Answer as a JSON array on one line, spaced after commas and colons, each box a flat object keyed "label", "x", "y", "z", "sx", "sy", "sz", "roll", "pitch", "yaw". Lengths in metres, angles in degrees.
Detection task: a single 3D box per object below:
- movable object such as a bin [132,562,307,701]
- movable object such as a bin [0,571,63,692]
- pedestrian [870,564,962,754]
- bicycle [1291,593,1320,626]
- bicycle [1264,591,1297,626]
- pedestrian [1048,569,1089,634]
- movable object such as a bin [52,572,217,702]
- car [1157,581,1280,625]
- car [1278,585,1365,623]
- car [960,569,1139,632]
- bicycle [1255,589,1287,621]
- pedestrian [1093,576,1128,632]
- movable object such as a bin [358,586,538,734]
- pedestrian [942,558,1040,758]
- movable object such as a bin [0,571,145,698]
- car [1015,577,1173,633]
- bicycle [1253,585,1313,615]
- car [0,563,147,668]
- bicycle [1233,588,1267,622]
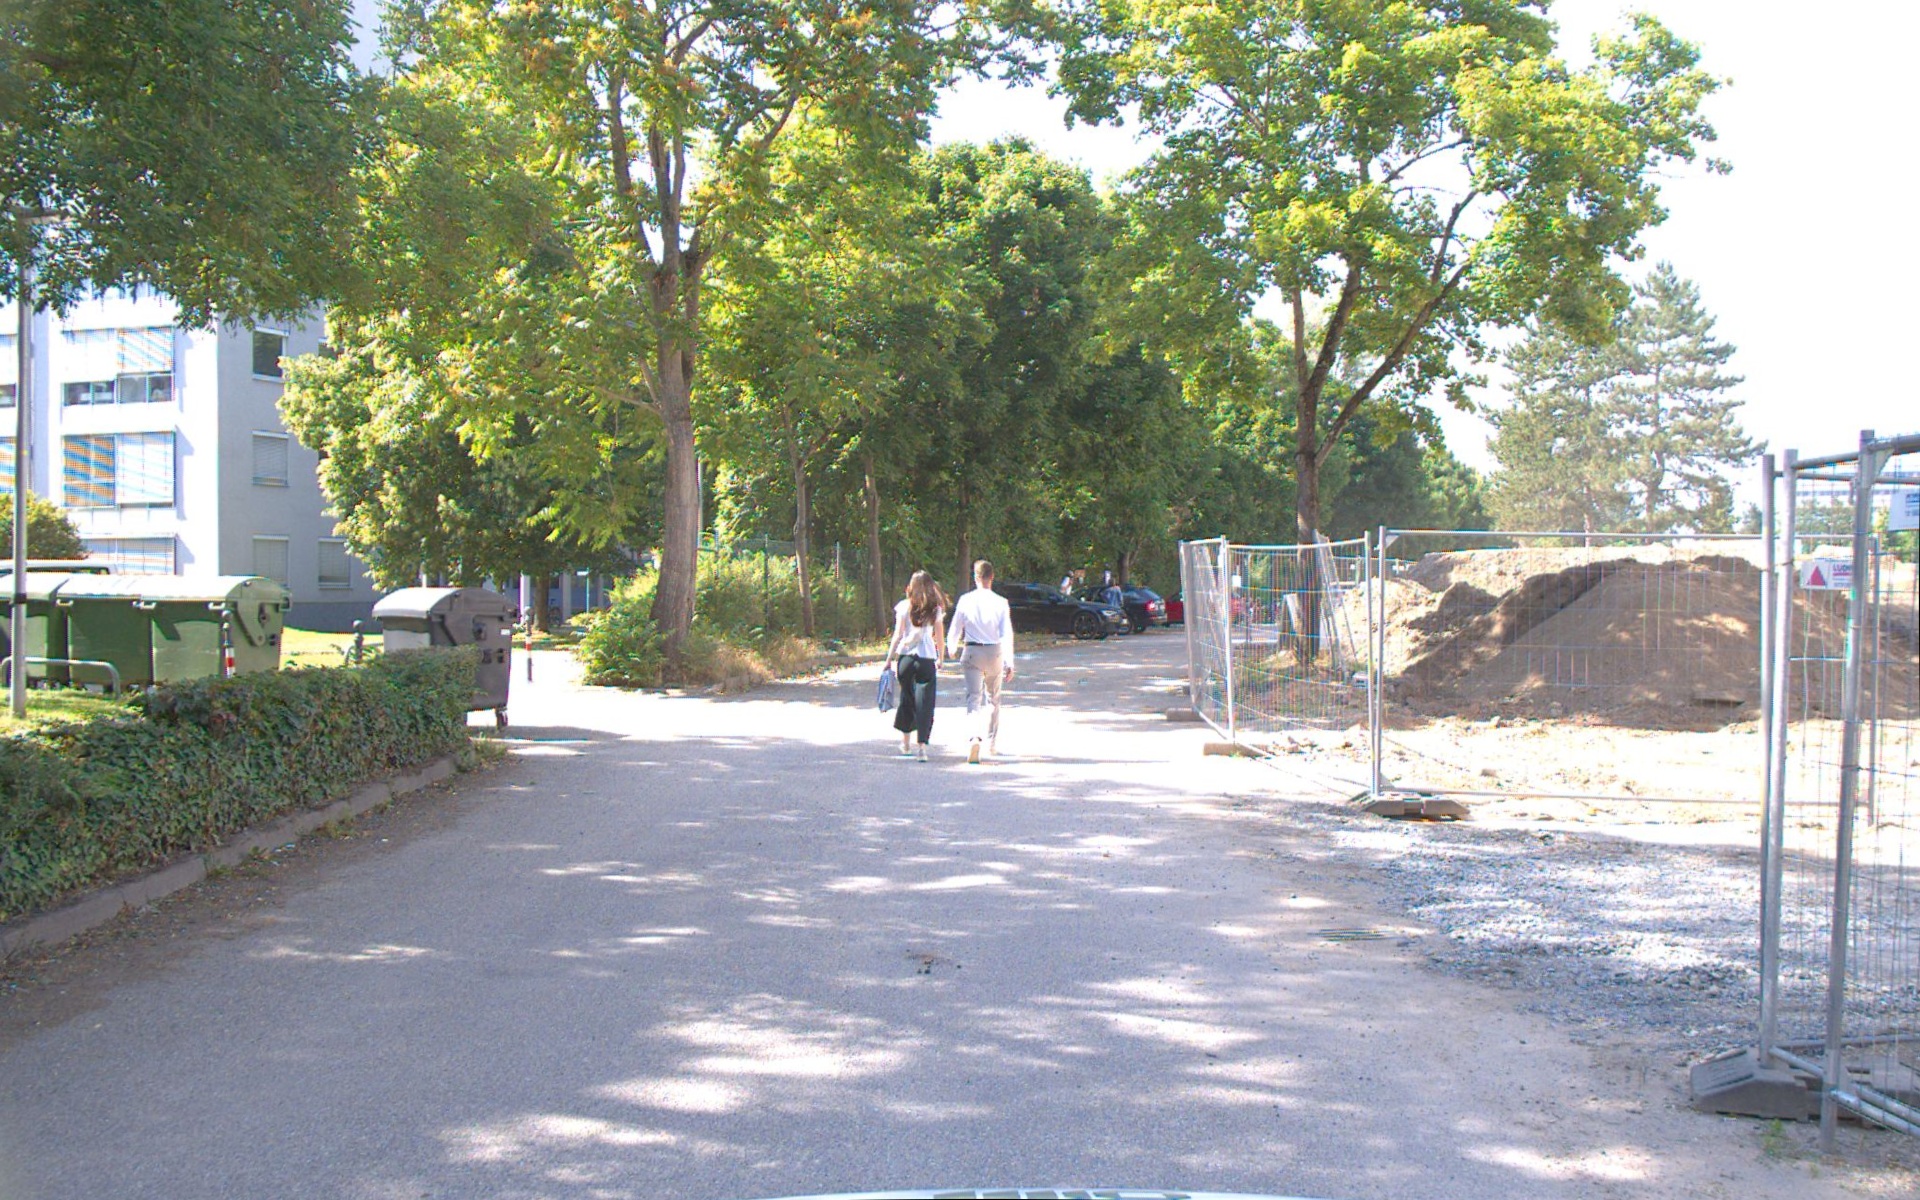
[{"label": "movable object such as a bin", "x": -8.357, "y": 0.336, "z": 18.705, "sx": 1.306, "sy": 1.507, "sz": 1.249, "roll": 0, "pitch": 0, "yaw": 18}, {"label": "movable object such as a bin", "x": -12.149, "y": 0.378, "z": 20.532, "sx": 1.318, "sy": 1.456, "sz": 1.248, "roll": 0, "pitch": 0, "yaw": 23}, {"label": "pedestrian", "x": -0.411, "y": 0.511, "z": 14.964, "sx": 0.722, "sy": 1.668, "sz": 0.779, "roll": 0, "pitch": 1, "yaw": -11}, {"label": "bicycle", "x": 14.316, "y": 0.390, "z": 68.441, "sx": 0.700, "sy": 1.306, "sz": 2.636, "roll": 0, "pitch": 1, "yaw": 23}, {"label": "bicycle", "x": 12.467, "y": 0.315, "z": 64.280, "sx": 0.700, "sy": 1.306, "sz": 2.683, "roll": 0, "pitch": 1, "yaw": 23}, {"label": "pedestrian", "x": 3.042, "y": 0.041, "z": 46.350, "sx": 0.992, "sy": 1.812, "sz": 0.820, "roll": 0, "pitch": 0, "yaw": 15}, {"label": "movable object such as a bin", "x": -9.603, "y": 0.407, "z": 19.285, "sx": 1.193, "sy": 1.456, "sz": 1.249, "roll": 0, "pitch": 0, "yaw": 13}, {"label": "car", "x": 9.575, "y": 0.094, "z": 61.308, "sx": 4.198, "sy": 1.551, "sz": 1.892, "roll": 0, "pitch": 1, "yaw": 22}, {"label": "car", "x": 17.952, "y": 0.160, "z": 82.095, "sx": 3.909, "sy": 1.802, "sz": 1.766, "roll": 1, "pitch": 1, "yaw": 26}, {"label": "car", "x": 2.453, "y": -0.007, "z": 44.958, "sx": 4.557, "sy": 1.612, "sz": 2.002, "roll": 1, "pitch": 1, "yaw": 15}, {"label": "bicycle", "x": 13.197, "y": 0.213, "z": 70.143, "sx": 0.800, "sy": 1.306, "sz": 2.683, "roll": 0, "pitch": 1, "yaw": 23}, {"label": "pedestrian", "x": 4.452, "y": 0.122, "z": 49.039, "sx": 0.905, "sy": 1.623, "sz": 0.786, "roll": 1, "pitch": 1, "yaw": 15}, {"label": "movable object such as a bin", "x": -5.242, "y": 0.573, "z": 16.940, "sx": 1.379, "sy": 1.421, "sz": 1.241, "roll": 0, "pitch": 0, "yaw": 42}, {"label": "pedestrian", "x": 0.270, "y": 0.499, "z": 14.992, "sx": 0.741, "sy": 1.758, "sz": 0.852, "roll": 0, "pitch": 1, "yaw": -11}, {"label": "movable object such as a bin", "x": -10.816, "y": 0.389, "z": 19.895, "sx": 1.334, "sy": 1.456, "sz": 1.248, "roll": 0, "pitch": 0, "yaw": 23}, {"label": "car", "x": 4.122, "y": 0.122, "z": 50.642, "sx": 4.557, "sy": 1.612, "sz": 2.002, "roll": 1, "pitch": 1, "yaw": 15}, {"label": "bicycle", "x": 14.680, "y": 0.000, "z": 75.178, "sx": 2.619, "sy": 1.306, "sz": 0.819, "roll": 0, "pitch": 0, "yaw": 17}, {"label": "car", "x": -18.702, "y": 0.287, "z": 32.226, "sx": 1.954, "sy": 1.967, "sz": 5.037, "roll": 0, "pitch": 0, "yaw": 25}, {"label": "bicycle", "x": 11.467, "y": 0.179, "z": 65.372, "sx": 0.700, "sy": 1.306, "sz": 2.790, "roll": 0, "pitch": 1, "yaw": 23}]
